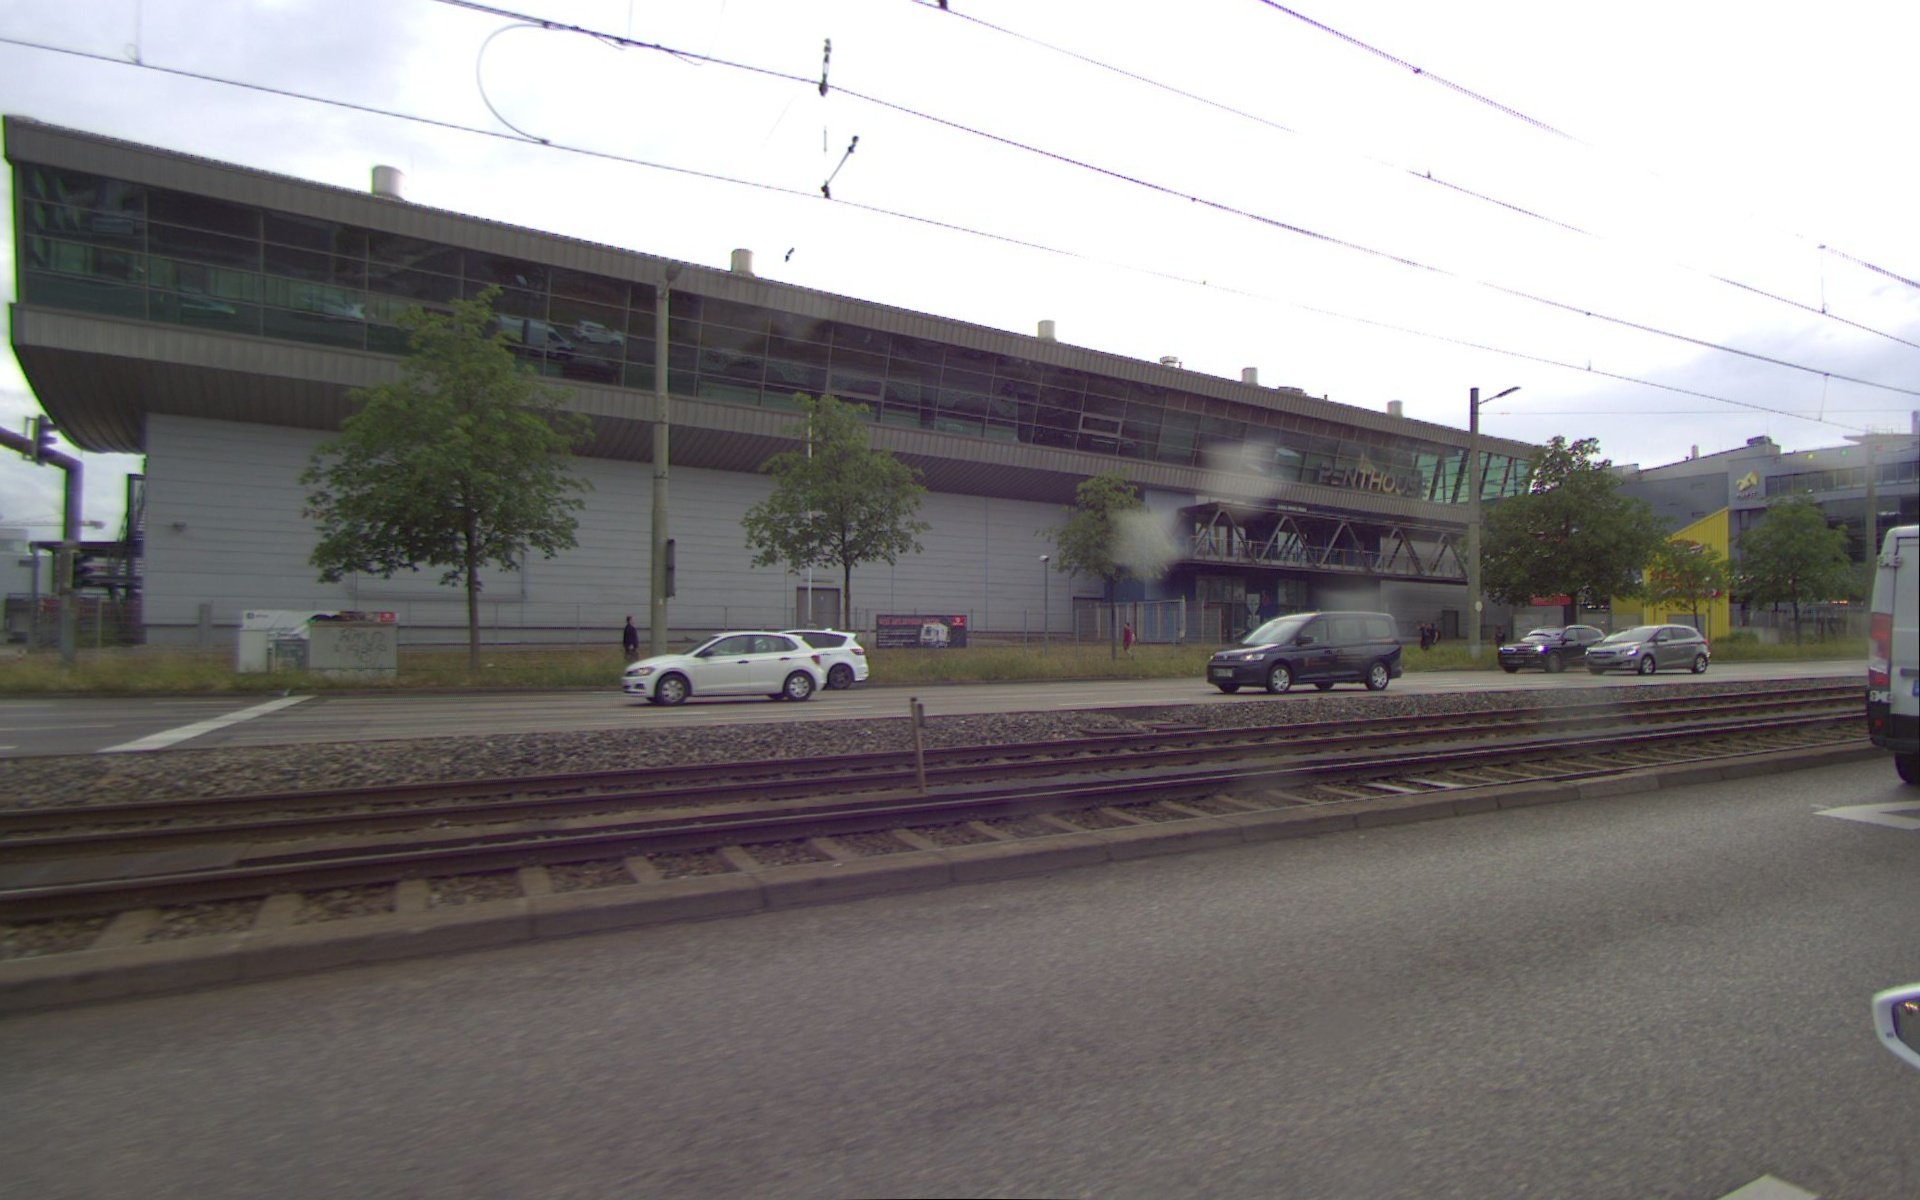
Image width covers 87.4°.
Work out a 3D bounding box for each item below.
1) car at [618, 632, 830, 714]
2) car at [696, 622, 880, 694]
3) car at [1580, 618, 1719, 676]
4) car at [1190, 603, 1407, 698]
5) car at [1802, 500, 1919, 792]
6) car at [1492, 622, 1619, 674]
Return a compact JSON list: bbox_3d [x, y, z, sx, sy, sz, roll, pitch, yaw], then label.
[{"bbox_3d":[-4.767,1.443,20.427,3.940,1.530,1.558,1,-2,-28],"label":"car"},{"bbox_3d":[-4.672,1.538,27.449,4.669,1.843,1.795,1,-2,-26],"label":"car"},{"bbox_3d":[22.582,1.500,32.876,4.432,1.807,1.795,1,-2,-26],"label":"car"},{"bbox_3d":[7.647,1.094,22.601,4.739,1.953,1.795,1,-2,-26],"label":"car"},{"bbox_3d":[9.973,0.409,8.764,4.845,2.325,2.434,1,2,-30],"label":"car"},{"bbox_3d":[21.500,1.696,36.266,4.432,1.767,1.795,1,-2,-26],"label":"car"}]
